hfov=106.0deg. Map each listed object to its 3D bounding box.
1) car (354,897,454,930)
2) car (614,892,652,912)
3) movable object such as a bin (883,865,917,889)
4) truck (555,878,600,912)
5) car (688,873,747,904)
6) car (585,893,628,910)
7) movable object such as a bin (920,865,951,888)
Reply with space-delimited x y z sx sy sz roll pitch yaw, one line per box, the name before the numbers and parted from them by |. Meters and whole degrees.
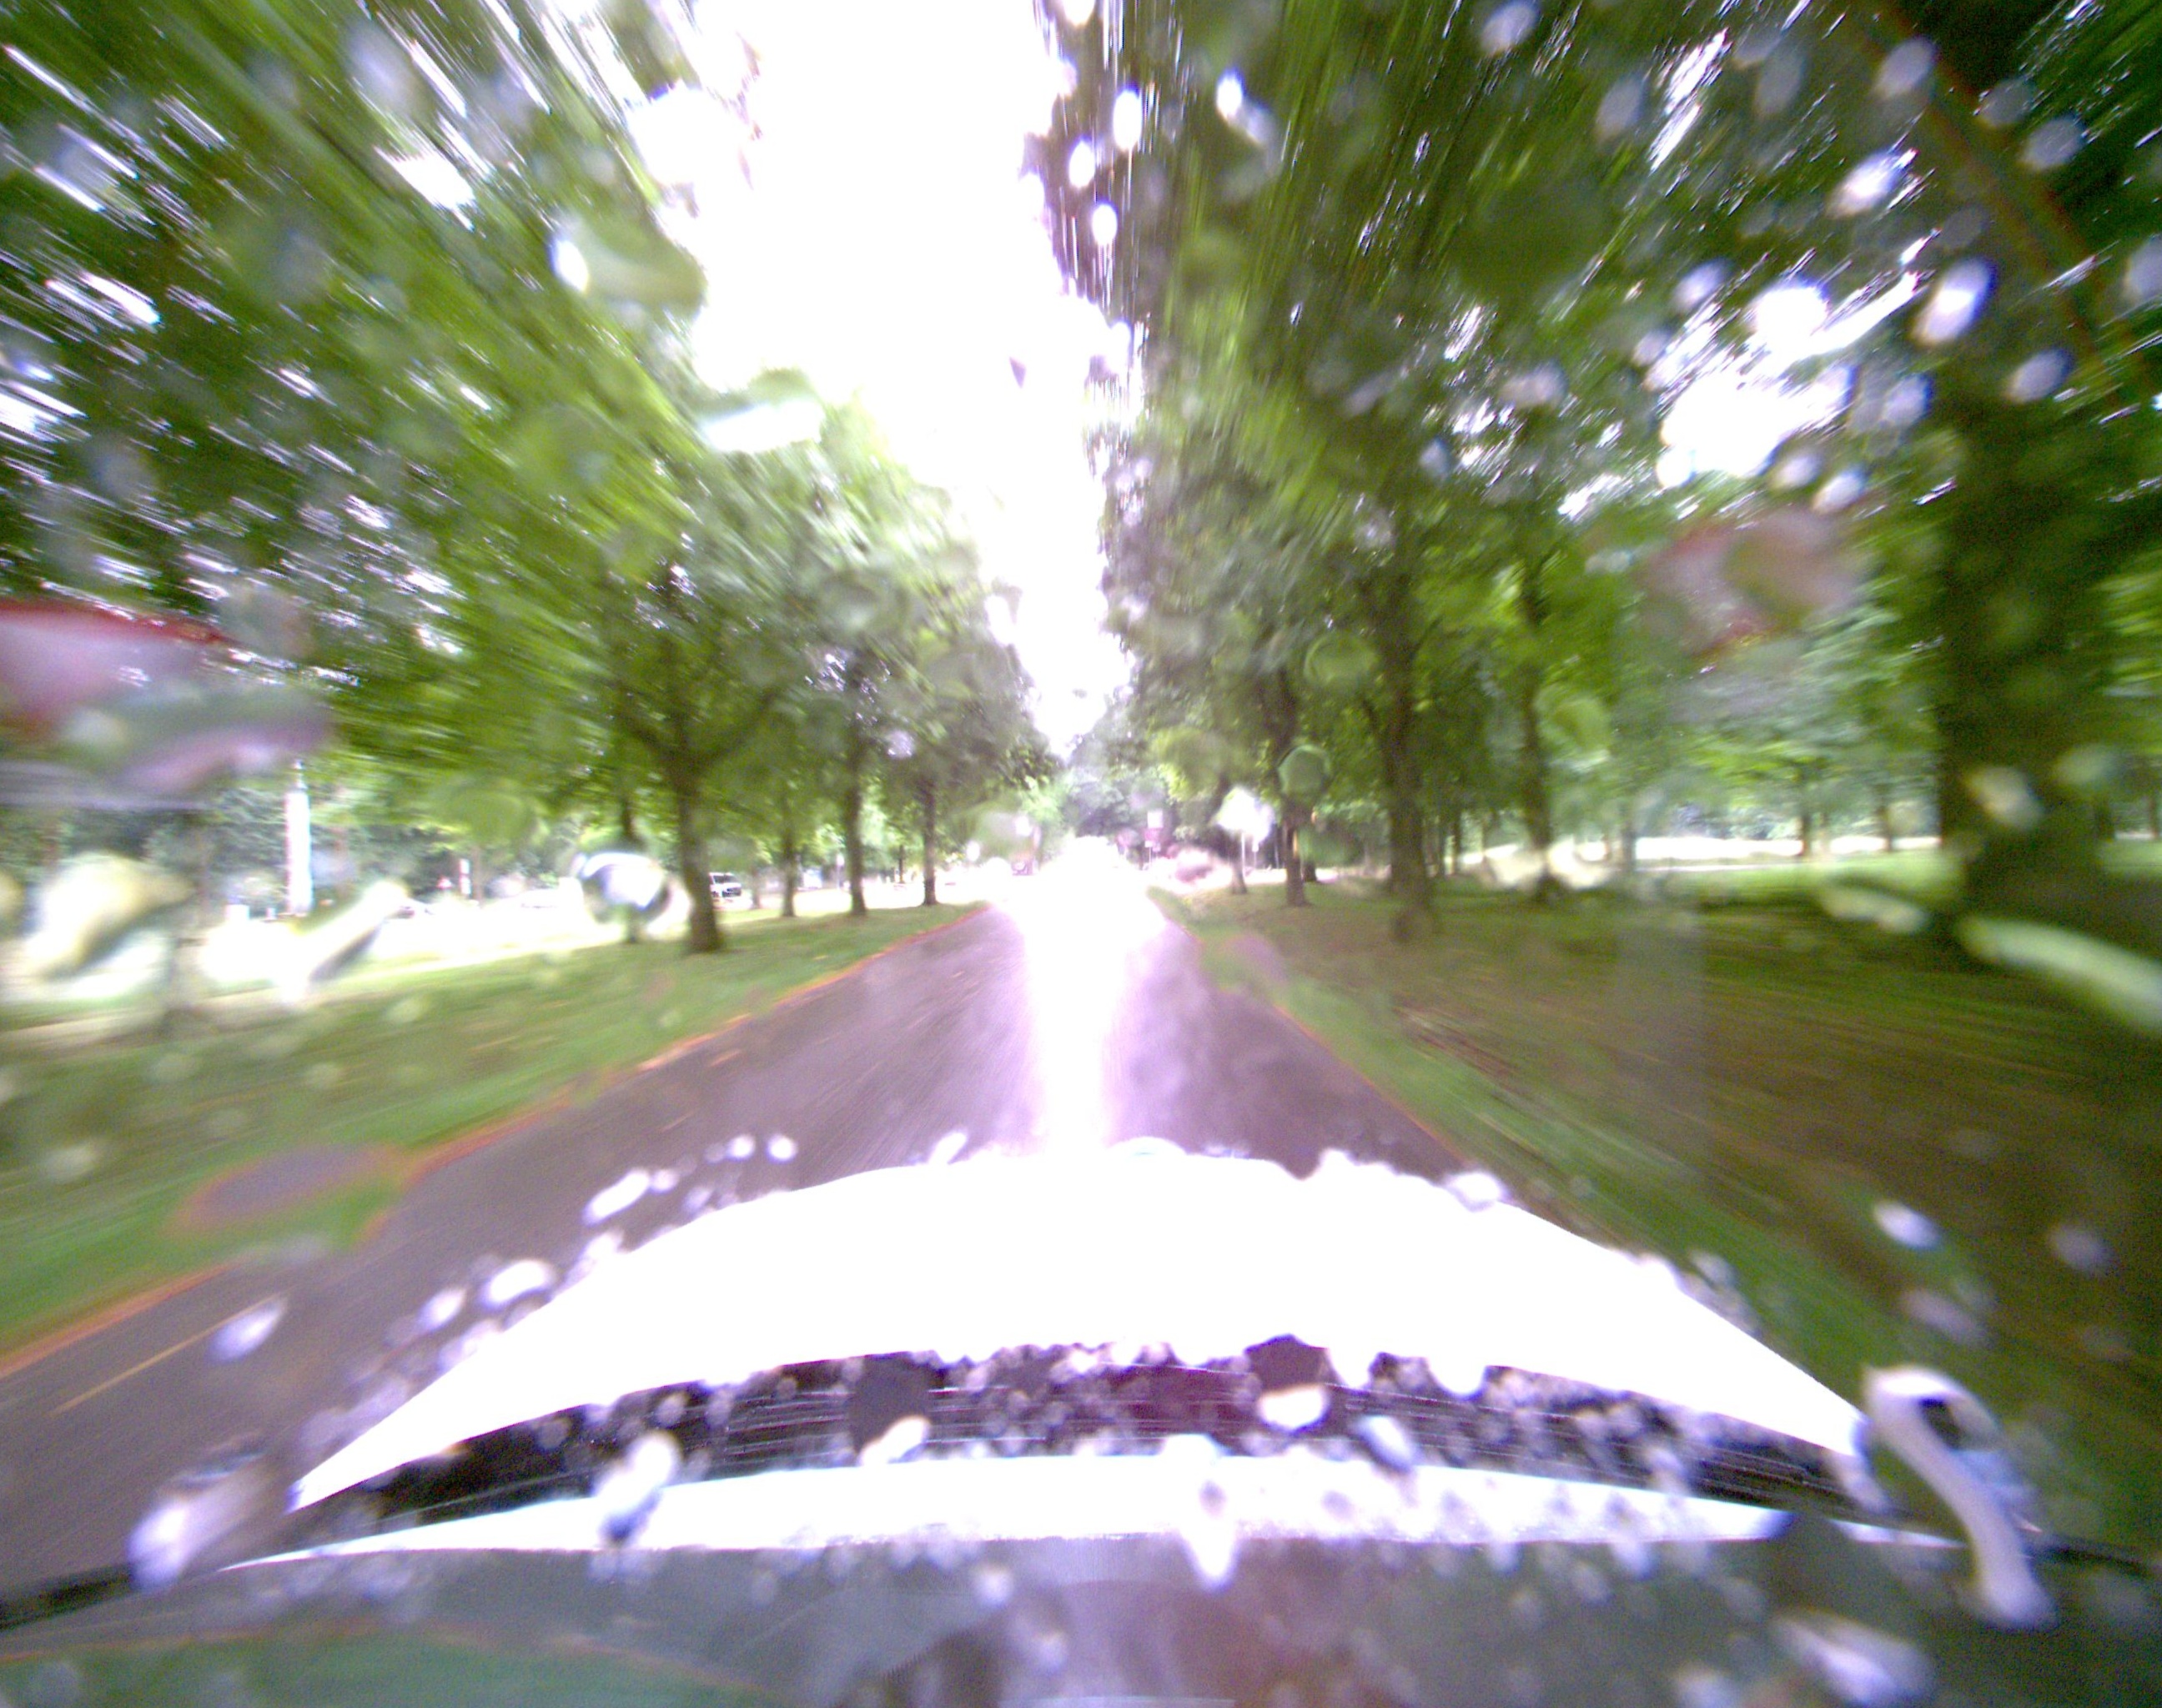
car | -43.660 3.810 52.642 4.568 1.708 1.723 -4 0 -15
car | -35.380 3.766 64.355 1.767 1.429 4.082 -3 -1 -17
movable object such as a bin | -27.273 3.432 123.064 4.656 3.294 3.899 -3 -1 -10
truck | -38.709 3.104 62.721 1.872 2.443 3.333 -3 -1 -13
car | -30.756 2.949 68.829 5.907 2.408 2.407 -5 -3 42
car | -52.347 5.258 89.807 3.953 1.585 2.010 -3 -1 20
movable object such as a bin | -22.241 3.402 124.666 4.583 3.294 3.653 -3 -1 -10
